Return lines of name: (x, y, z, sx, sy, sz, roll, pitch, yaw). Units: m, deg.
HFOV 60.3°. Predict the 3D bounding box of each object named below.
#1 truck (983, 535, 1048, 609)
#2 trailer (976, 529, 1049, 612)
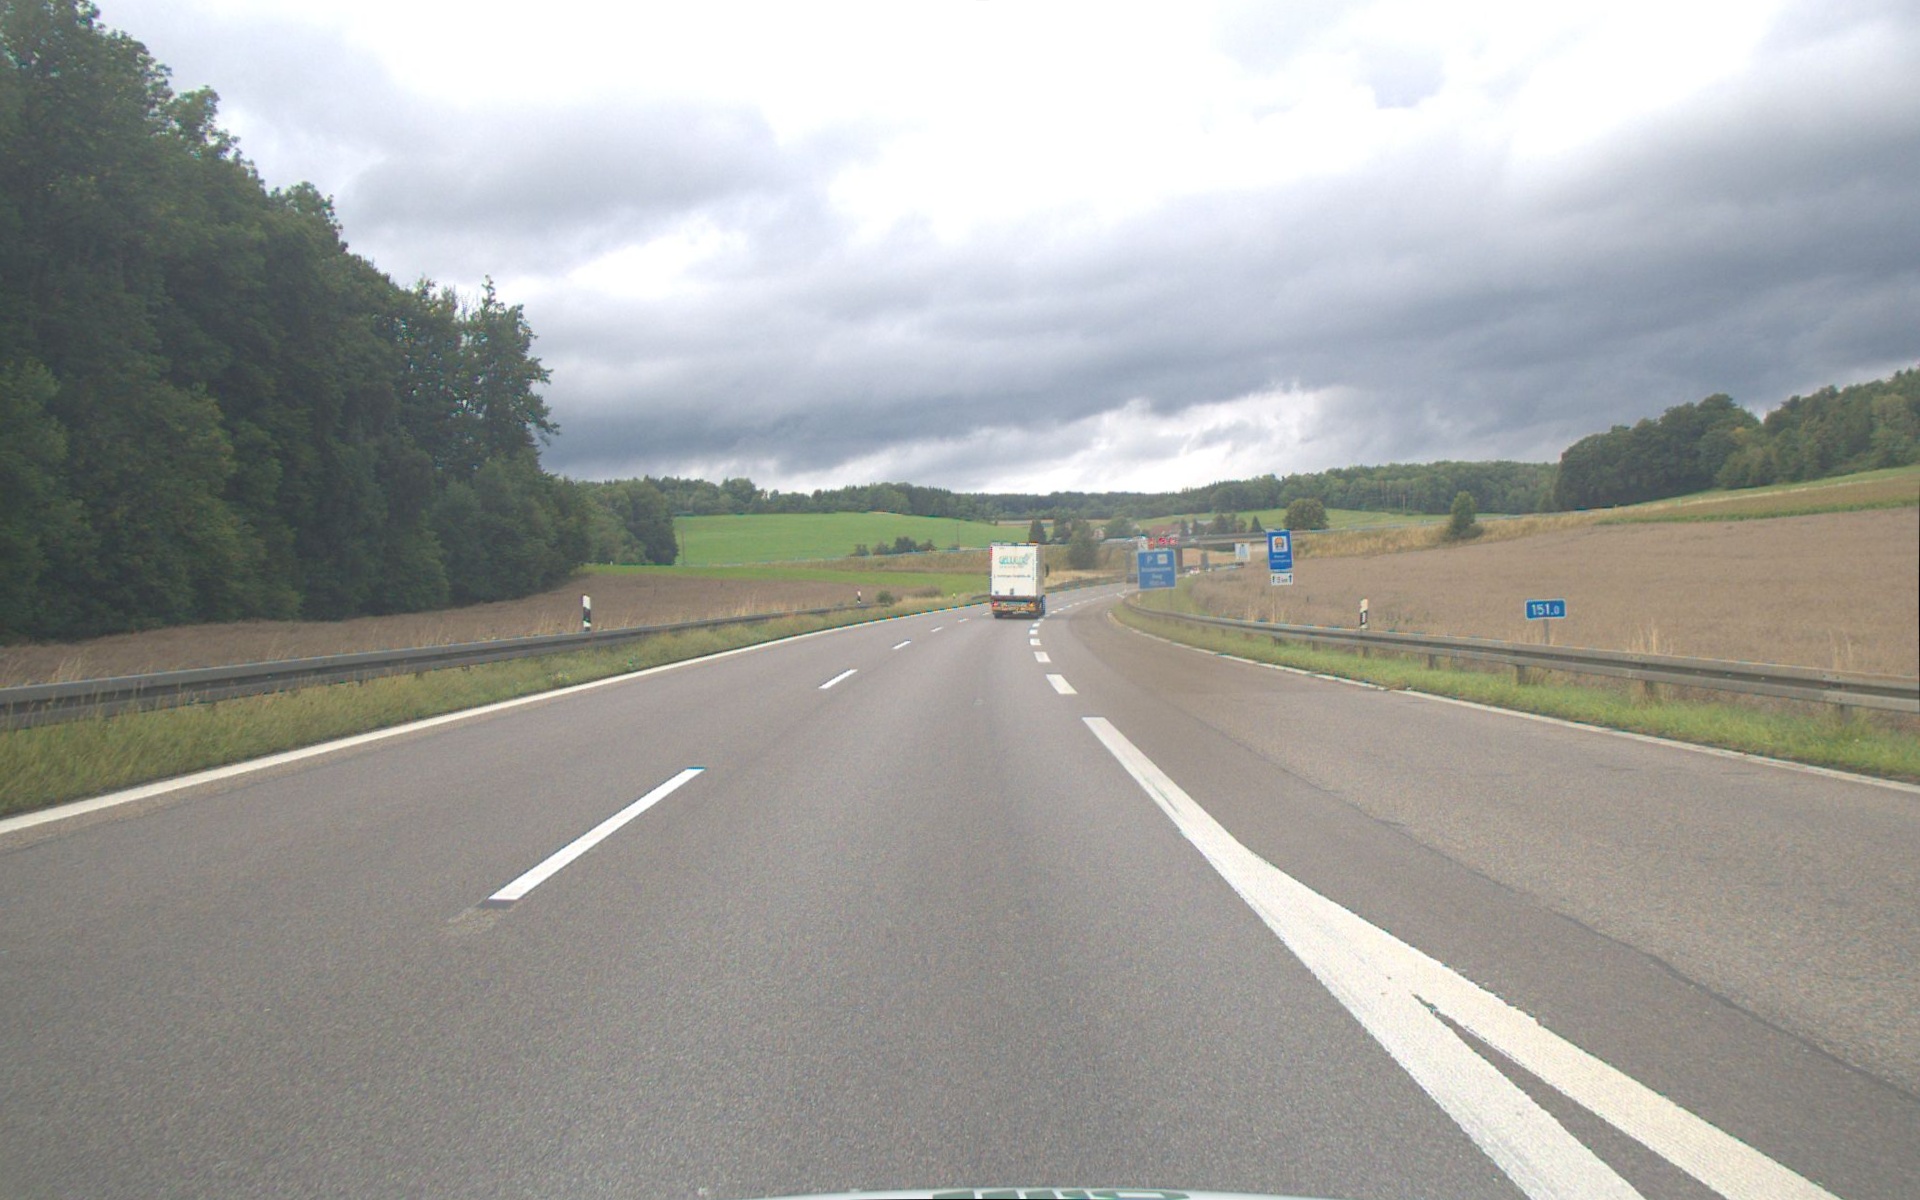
truck: (3.368, -1.642, 100.118, 3.709, 4.204, 8.267, -1, 0, 2)
trailer: (3.065, -1.606, 93.398, 3.726, 4.247, 14.813, -1, 0, 2)
